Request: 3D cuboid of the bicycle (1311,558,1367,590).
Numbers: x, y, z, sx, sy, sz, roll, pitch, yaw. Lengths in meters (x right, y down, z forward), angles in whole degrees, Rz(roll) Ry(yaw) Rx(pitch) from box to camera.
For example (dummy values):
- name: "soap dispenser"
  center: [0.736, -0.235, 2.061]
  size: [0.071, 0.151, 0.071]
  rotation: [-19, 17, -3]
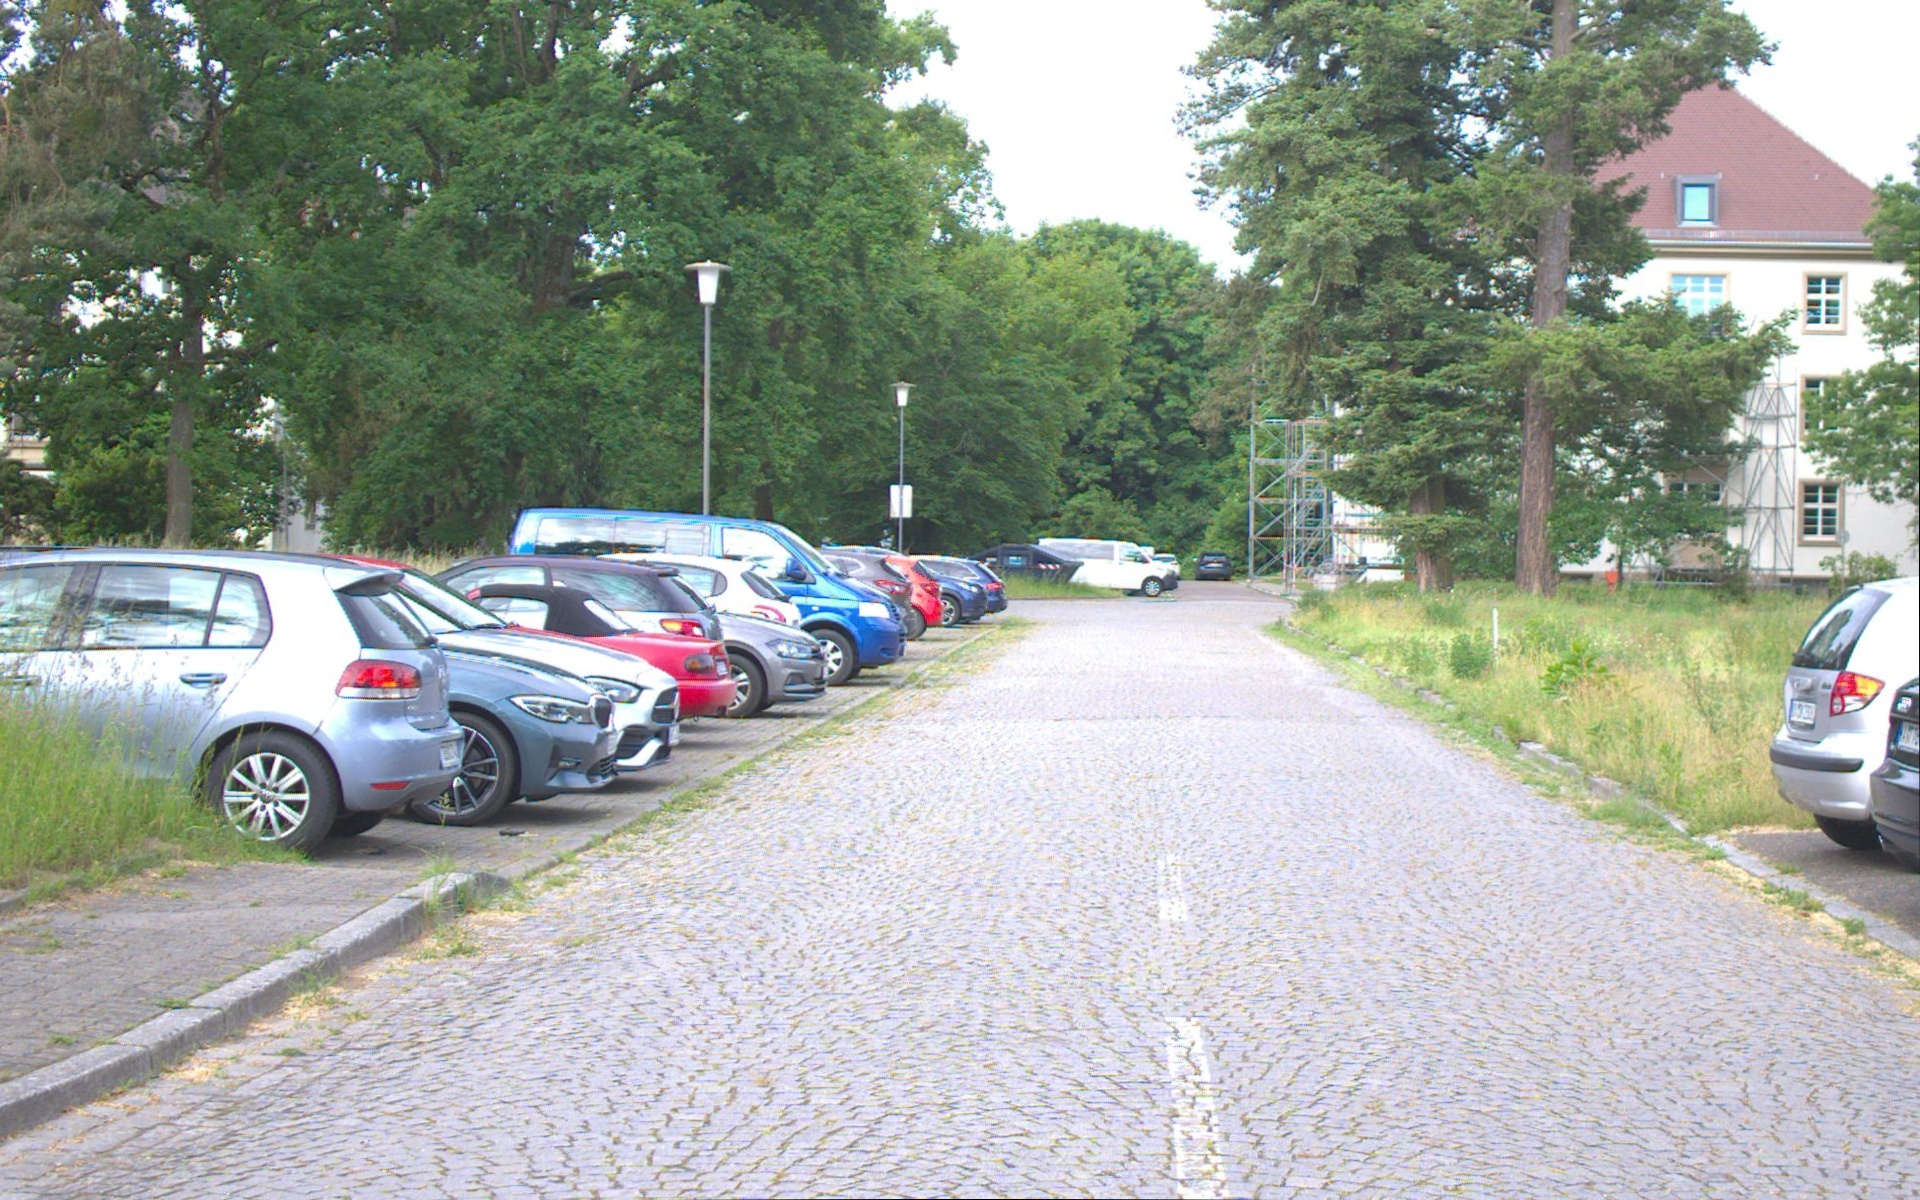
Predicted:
- name: "bicycle"
  center: [15.446, -1.053, 140.276]
  size: [2.241, 1.250, 0.777]
  rotation: [1, 0, 5]

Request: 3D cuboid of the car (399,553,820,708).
- name: "car"
  center: [-3.589, 0.295, 35.677]
  size: [4.068, 1.492, 1.845]
  rotation: [1, 1, 4]

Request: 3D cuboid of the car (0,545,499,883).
- name: "car"
  center: [-4.450, 0.507, 17.129]
  size: [3.987, 1.537, 1.905]
  rotation: [1, 1, 2]

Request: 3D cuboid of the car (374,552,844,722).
- name: "car"
  center: [-3.288, 0.326, 32.741]
  size: [4.167, 1.486, 1.864]
  rotation: [1, 1, 5]

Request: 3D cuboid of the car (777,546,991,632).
- name: "car"
  center: [-1.535, -0.239, 70.425]
  size: [4.228, 1.571, 1.887]
  rotation: [2, 1, 2]

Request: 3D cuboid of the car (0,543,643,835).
- name: "car"
  center: [-4.050, 0.471, 19.841]
  size: [4.250, 1.543, 1.936]
  rotation: [1, 1, 0]

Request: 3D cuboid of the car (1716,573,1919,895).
- name: "car"
  center: [6.111, 0.598, 17.550]
  size: [4.073, 1.510, 1.804]
  rotation: [-2, 1, 1]

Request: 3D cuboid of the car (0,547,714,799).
- name: "car"
  center: [-3.896, 0.443, 22.581]
  size: [4.374, 1.502, 1.936]
  rotation: [1, 1, 1]

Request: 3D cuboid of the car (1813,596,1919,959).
- name: "car"
  center: [5.966, 0.672, 14.846]
  size: [4.073, 1.448, 1.885]
  rotation: [-2, 1, 1]

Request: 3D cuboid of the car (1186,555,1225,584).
- name: "car"
  center: [13.506, -1.693, 189.544]
  size: [1.951, 1.516, 4.000]
  rotation: [1, 1, 2]

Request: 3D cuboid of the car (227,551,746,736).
- name: "car"
  center: [-4.063, 0.348, 29.927]
  size: [4.166, 1.477, 1.845]
  rotation: [1, 1, 4]

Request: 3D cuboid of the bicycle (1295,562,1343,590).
- name: "bicycle"
  center: [16.893, -1.130, 161.781]
  size: [2.241, 1.250, 0.634]
  rotation: [1, 0, 5]

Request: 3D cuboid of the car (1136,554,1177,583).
- name: "car"
  center: [10.816, -1.725, 189.406]
  size: [2.119, 1.516, 4.000]
  rotation: [1, 1, 2]

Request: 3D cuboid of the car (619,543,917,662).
- name: "car"
  center: [-2.744, 0.017, 49.823]
  size: [4.166, 1.616, 1.987]
  rotation: [1, 1, 1]

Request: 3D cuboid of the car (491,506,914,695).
- name: "car"
  center: [-3.013, -0.013, 40.942]
  size: [4.782, 2.115, 2.115]
  rotation: [1, 1, 2]

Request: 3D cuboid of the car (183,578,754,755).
- name: "car"
  center: [-3.834, 0.499, 27.255]
  size: [4.166, 1.262, 1.831]
  rotation: [1, 1, 4]

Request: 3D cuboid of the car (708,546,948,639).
- name: "car"
  center: [-2.274, -0.142, 60.183]
  size: [4.055, 1.520, 1.905]
  rotation: [1, 1, 2]

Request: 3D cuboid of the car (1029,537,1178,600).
- name: "car"
  center: [5.134, -1.145, 123.637]
  size: [5.234, 2.160, 2.000]
  rotation: [1, 1, 1]

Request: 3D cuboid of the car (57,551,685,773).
- name: "car"
  center: [-4.193, 0.416, 24.898]
  size: [4.166, 1.471, 1.864]
  rotation: [1, 1, 3]

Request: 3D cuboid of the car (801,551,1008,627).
- name: "car"
  center: [-1.187, -0.252, 75.115]
  size: [4.303, 1.456, 1.975]
  rotation: [2, 1, 5]
